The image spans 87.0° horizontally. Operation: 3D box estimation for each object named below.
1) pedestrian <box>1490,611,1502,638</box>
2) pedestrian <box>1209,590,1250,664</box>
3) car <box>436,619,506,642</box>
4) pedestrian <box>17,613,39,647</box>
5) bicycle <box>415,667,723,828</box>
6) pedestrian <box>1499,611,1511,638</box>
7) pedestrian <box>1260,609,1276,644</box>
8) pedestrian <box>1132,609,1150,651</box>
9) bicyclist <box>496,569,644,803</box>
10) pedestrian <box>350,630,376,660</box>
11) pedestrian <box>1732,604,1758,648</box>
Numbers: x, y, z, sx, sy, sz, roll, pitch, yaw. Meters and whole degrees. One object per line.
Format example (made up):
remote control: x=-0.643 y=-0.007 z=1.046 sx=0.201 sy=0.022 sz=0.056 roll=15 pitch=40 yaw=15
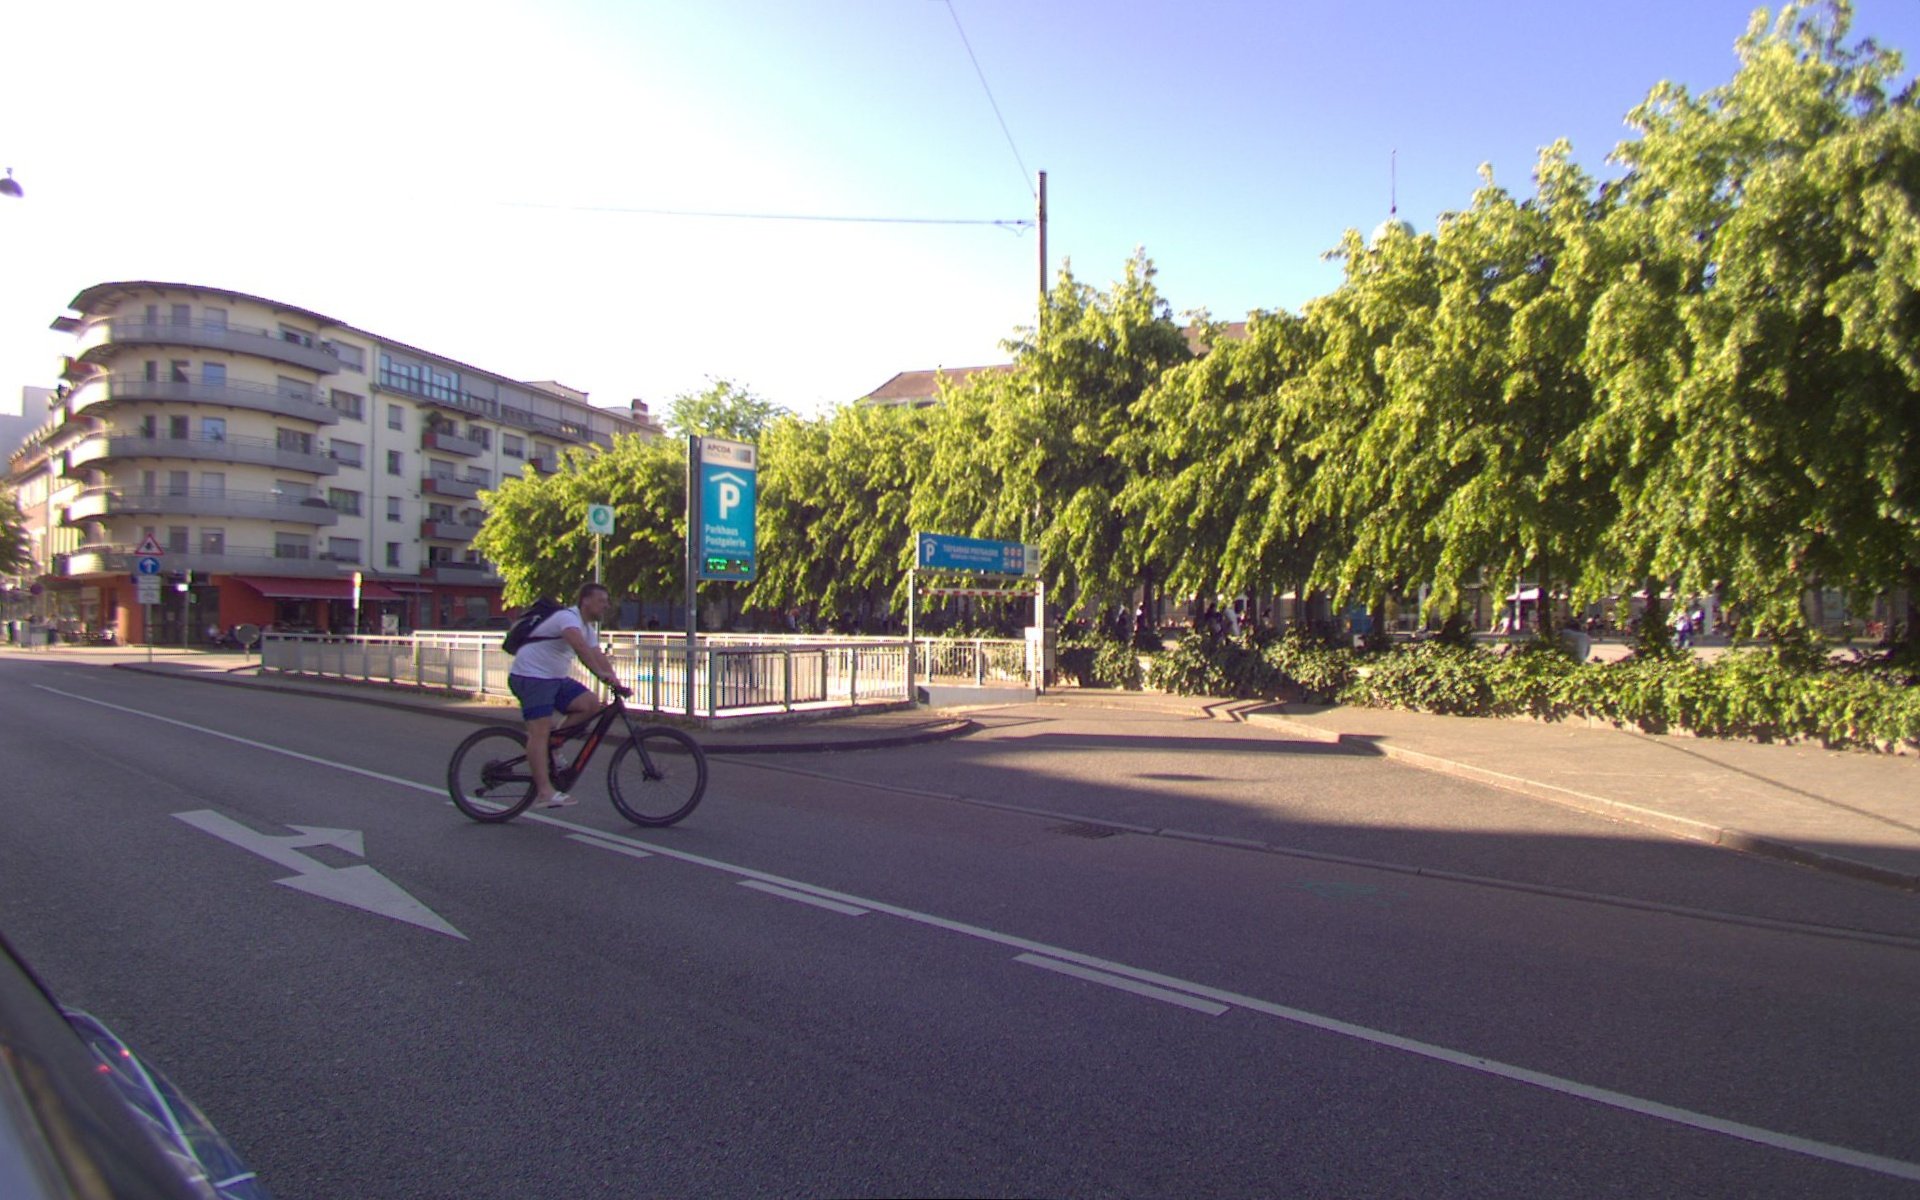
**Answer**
pedestrian: x=35.183 y=1.608 z=66.390 sx=0.643 sy=1.734 sz=0.603 roll=-1 pitch=0 yaw=26
pedestrian: x=6.145 y=0.603 z=23.081 sx=0.645 sy=1.661 sz=0.626 roll=-1 pitch=0 yaw=-35
car: x=-30.508 y=1.893 z=63.224 sx=1.742 sy=1.311 sz=3.977 roll=-1 pitch=-1 yaw=17
pedestrian: x=-56.169 y=1.804 z=61.000 sx=0.888 sy=2.029 sz=0.850 roll=-1 pitch=0 yaw=40
bicycle: x=-2.840 y=1.064 z=7.463 sx=2.033 sy=1.093 sz=0.641 roll=-1 pitch=-1 yaw=2
pedestrian: x=35.264 y=1.589 z=65.454 sx=0.643 sy=1.734 sz=0.603 roll=-1 pitch=0 yaw=26
pedestrian: x=15.504 y=1.328 z=50.986 sx=0.606 sy=1.734 sz=0.640 roll=-1 pitch=0 yaw=31
pedestrian: x=7.615 y=1.251 z=42.552 sx=0.604 sy=1.734 sz=0.642 roll=-1 pitch=0 yaw=21
bicyclist: x=-2.892 y=0.619 z=7.587 sx=0.758 sy=1.647 sz=0.886 roll=0 pitch=-2 yaw=1
pedestrian: x=-32.668 y=2.467 z=55.378 sx=0.877 sy=1.607 sz=0.861 roll=-1 pitch=0 yaw=2
pedestrian: x=31.663 y=1.035 z=40.812 sx=0.641 sy=1.734 sz=0.605 roll=-1 pitch=0 yaw=18
